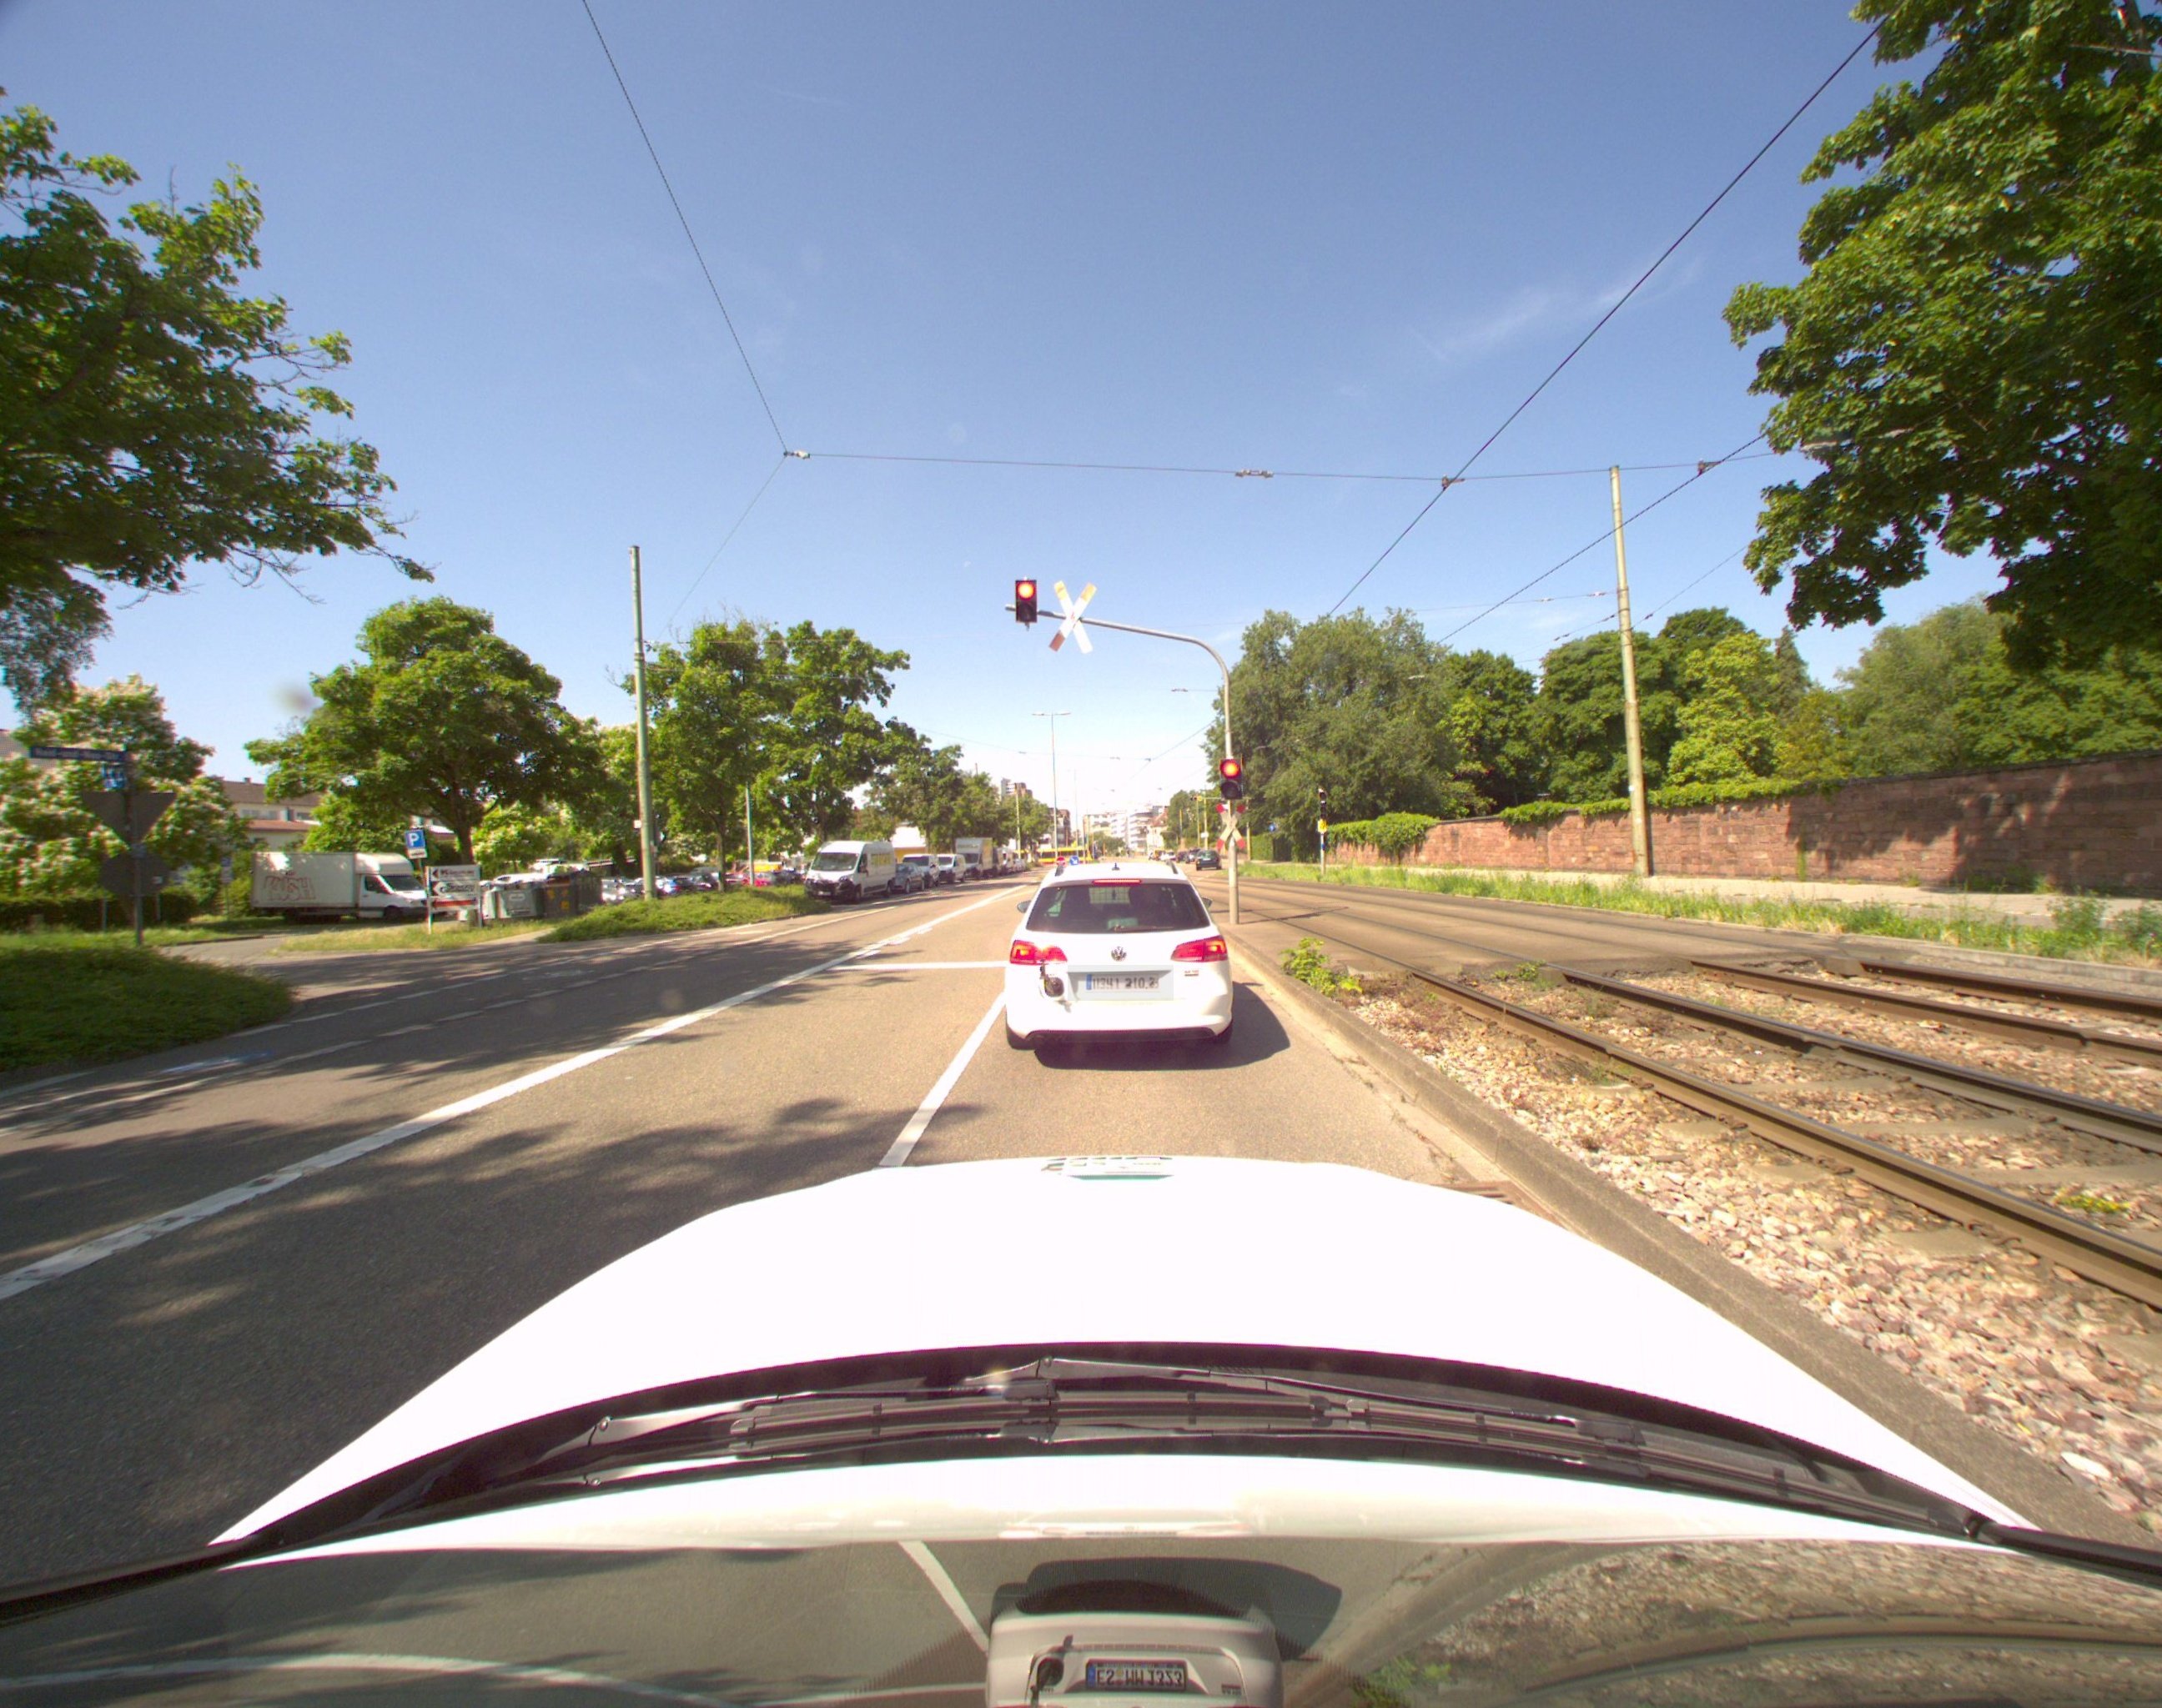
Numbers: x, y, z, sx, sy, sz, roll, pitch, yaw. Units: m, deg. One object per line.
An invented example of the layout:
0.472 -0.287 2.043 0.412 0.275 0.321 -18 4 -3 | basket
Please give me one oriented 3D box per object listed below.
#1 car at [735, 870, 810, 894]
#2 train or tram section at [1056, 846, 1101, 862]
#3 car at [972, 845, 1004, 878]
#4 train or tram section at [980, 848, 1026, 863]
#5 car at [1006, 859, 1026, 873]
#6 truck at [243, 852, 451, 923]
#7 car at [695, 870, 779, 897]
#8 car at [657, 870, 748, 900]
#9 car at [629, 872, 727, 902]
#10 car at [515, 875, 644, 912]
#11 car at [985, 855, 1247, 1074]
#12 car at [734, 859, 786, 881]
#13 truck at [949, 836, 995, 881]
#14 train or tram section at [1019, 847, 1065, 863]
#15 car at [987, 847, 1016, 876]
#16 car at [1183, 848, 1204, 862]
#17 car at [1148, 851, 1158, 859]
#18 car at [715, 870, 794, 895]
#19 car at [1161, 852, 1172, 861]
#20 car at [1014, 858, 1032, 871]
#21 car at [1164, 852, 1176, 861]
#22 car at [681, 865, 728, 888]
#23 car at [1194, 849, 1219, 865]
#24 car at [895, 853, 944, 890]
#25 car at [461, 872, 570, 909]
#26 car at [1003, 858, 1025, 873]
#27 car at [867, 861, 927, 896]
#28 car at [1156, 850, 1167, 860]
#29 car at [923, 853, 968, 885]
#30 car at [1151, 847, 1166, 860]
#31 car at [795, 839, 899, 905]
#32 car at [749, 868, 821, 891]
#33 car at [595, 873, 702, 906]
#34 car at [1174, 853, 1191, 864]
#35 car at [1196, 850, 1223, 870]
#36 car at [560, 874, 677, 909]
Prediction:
-19.380 1.738 51.199 3.969 1.225 1.773 -3 0 4 | car
-0.628 0.131 171.366 11.134 3.253 2.322 -1 -1 45 | train or tram section
-7.926 0.629 69.783 1.836 2.668 5.006 -3 0 2 | car
-17.585 0.342 183.565 10.880 3.253 2.322 -1 -1 28 | train or tram section
-7.392 1.328 92.893 1.837 1.433 4.039 -3 0 2 | car
-32.458 1.445 36.171 7.119 3.019 2.231 0 0 -1 | truck
-19.415 1.662 46.066 3.969 1.264 1.773 -3 0 4 | car
-20.214 1.663 43.551 3.969 1.350 1.773 -3 0 4 | car
-20.208 1.644 40.935 3.969 1.225 1.773 -3 0 4 | car
-19.935 1.557 32.508 3.974 1.225 1.771 -3 0 0 | car
0.273 0.745 7.444 1.762 1.446 3.914 0 0 1 | car
-31.154 1.546 79.172 4.249 2.014 1.997 0 -1 -5 | car
-8.190 0.345 61.857 2.348 3.122 6.893 -3 0 1 | truck
-8.588 0.240 178.076 10.667 3.253 2.323 -1 -1 35 | train or tram section
-7.524 0.677 77.345 1.836 2.494 5.860 -3 0 2 | car
12.455 0.134 90.418 1.854 1.513 3.915 0 0 2 | car
15.368 0.203 173.660 1.986 1.596 4.002 0 -1 2 | car
-19.507 1.705 48.747 3.969 1.225 1.773 -3 0 4 | car
14.282 0.432 136.156 1.576 1.346 3.455 0 -1 2 | car
-6.957 1.291 98.066 1.774 1.433 4.039 -3 0 2 | car
13.792 0.329 125.767 1.576 1.346 3.455 0 -1 2 | car
-34.210 2.059 73.982 3.412 1.876 1.552 -3 0 0 | car
12.028 0.277 78.096 1.854 1.416 4.327 0 0 2 | car
-9.201 0.953 46.747 1.839 1.937 5.190 -3 0 -2 | car
-32.058 2.068 46.297 4.683 2.014 1.998 0 -1 -4 | car
-7.102 1.246 86.919 1.837 1.433 4.039 -3 0 2 | car
-8.971 1.175 40.091 1.837 1.516 4.199 -3 0 2 | car
14.231 0.198 144.282 1.685 1.812 3.455 0 -1 1 | car
-8.812 0.935 53.459 1.836 1.960 5.137 -3 0 2 | car
15.192 -0.079 159.999 2.454 2.499 5.912 0 -1 2 | car
-9.534 0.666 33.914 2.049 2.501 6.315 0 0 4 | car
-19.419 1.673 53.551 3.969 1.225 1.773 -3 0 4 | car
-20.003 1.631 37.741 3.969 1.225 1.773 -3 0 4 | car
12.836 0.581 103.141 1.739 1.407 3.914 0 0 2 | car
9.103 0.410 57.676 1.735 1.388 3.925 -1 0 11 | car
-19.846 1.589 35.054 3.974 1.225 1.771 -3 0 0 | car
